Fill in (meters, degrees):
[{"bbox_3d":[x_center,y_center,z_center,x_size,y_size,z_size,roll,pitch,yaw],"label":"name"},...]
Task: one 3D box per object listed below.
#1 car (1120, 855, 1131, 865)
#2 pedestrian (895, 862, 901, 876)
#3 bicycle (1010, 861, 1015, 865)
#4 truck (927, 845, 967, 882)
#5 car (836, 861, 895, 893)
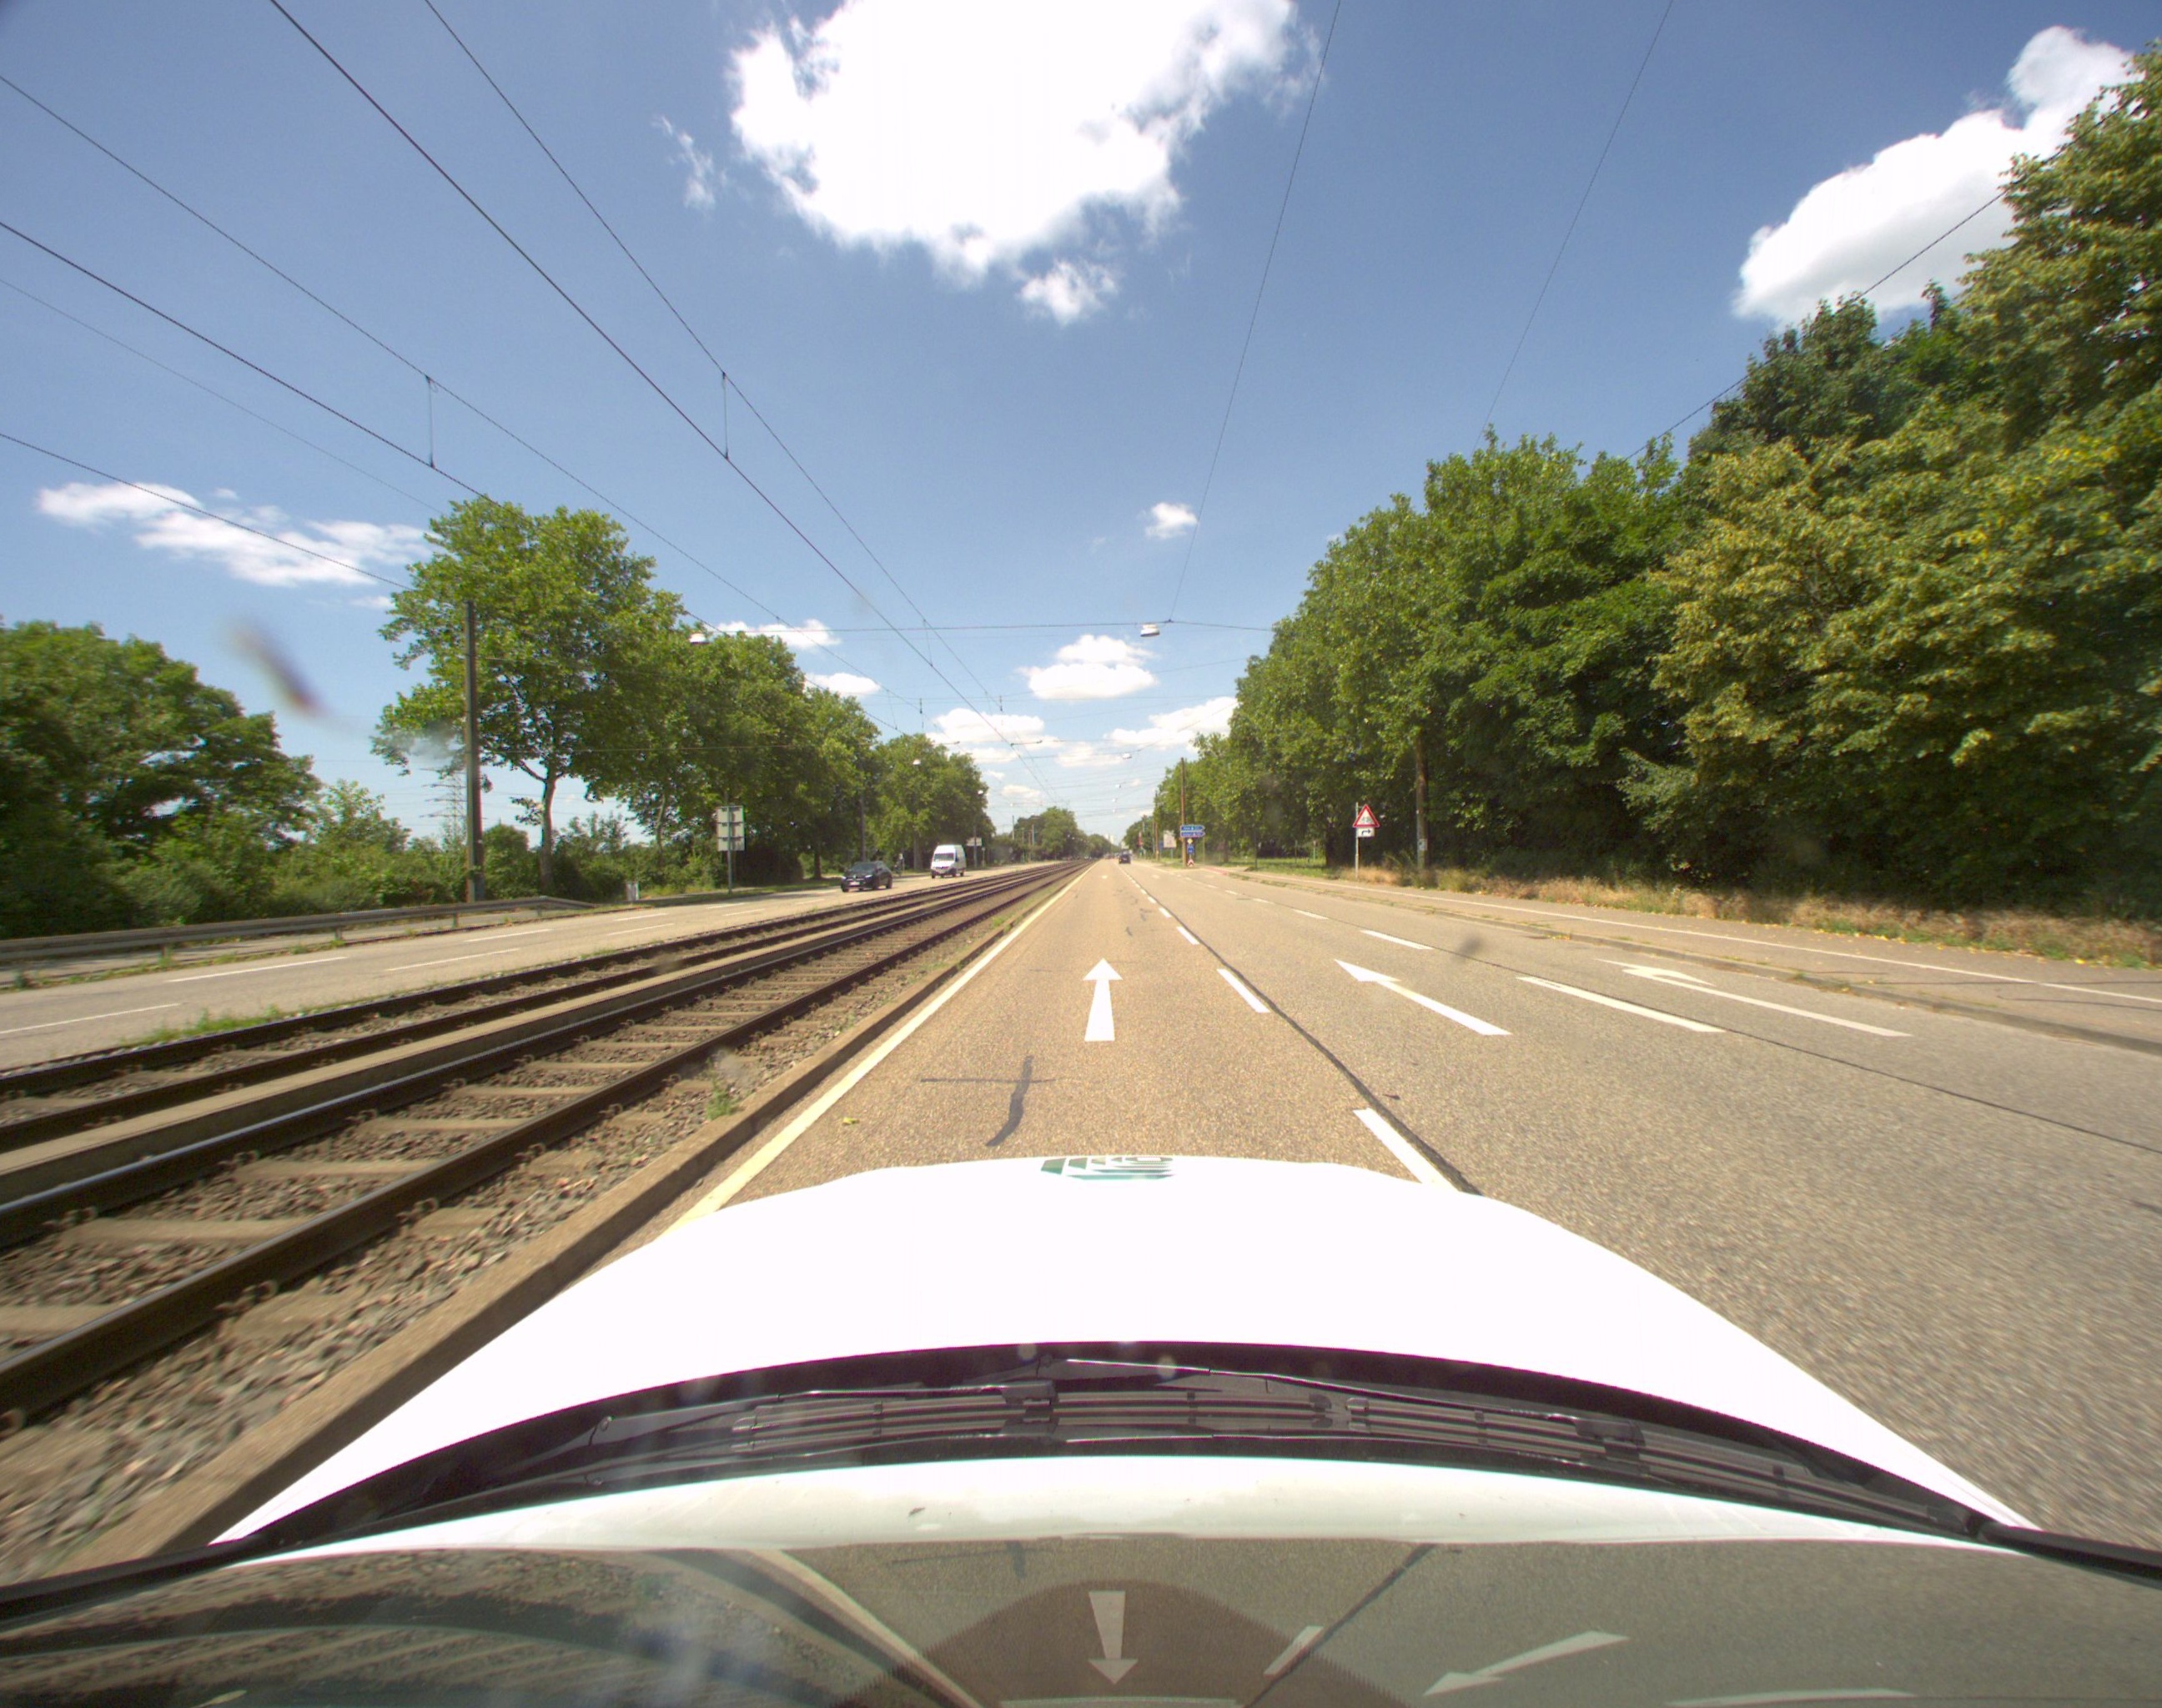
[{"bbox_3d":[6.821,0.898,125.784,1.580,1.343,3.272,-2,1,0],"label":"car"},{"bbox_3d":[-20.423,1.677,90.985,0.512,1.551,0.703,-2,0,-4],"label":"pedestrian"},{"bbox_3d":[-14.317,1.883,170.245,0.513,0.857,1.934,-3,0,5],"label":"bicycle"},{"bbox_3d":[-11.312,0.775,69.395,2.046,2.939,6.322,-3,0,2],"label":"truck"},{"bbox_3d":[-11.610,1.190,44.126,1.811,1.514,4.429,-2,0,2],"label":"car"}]
